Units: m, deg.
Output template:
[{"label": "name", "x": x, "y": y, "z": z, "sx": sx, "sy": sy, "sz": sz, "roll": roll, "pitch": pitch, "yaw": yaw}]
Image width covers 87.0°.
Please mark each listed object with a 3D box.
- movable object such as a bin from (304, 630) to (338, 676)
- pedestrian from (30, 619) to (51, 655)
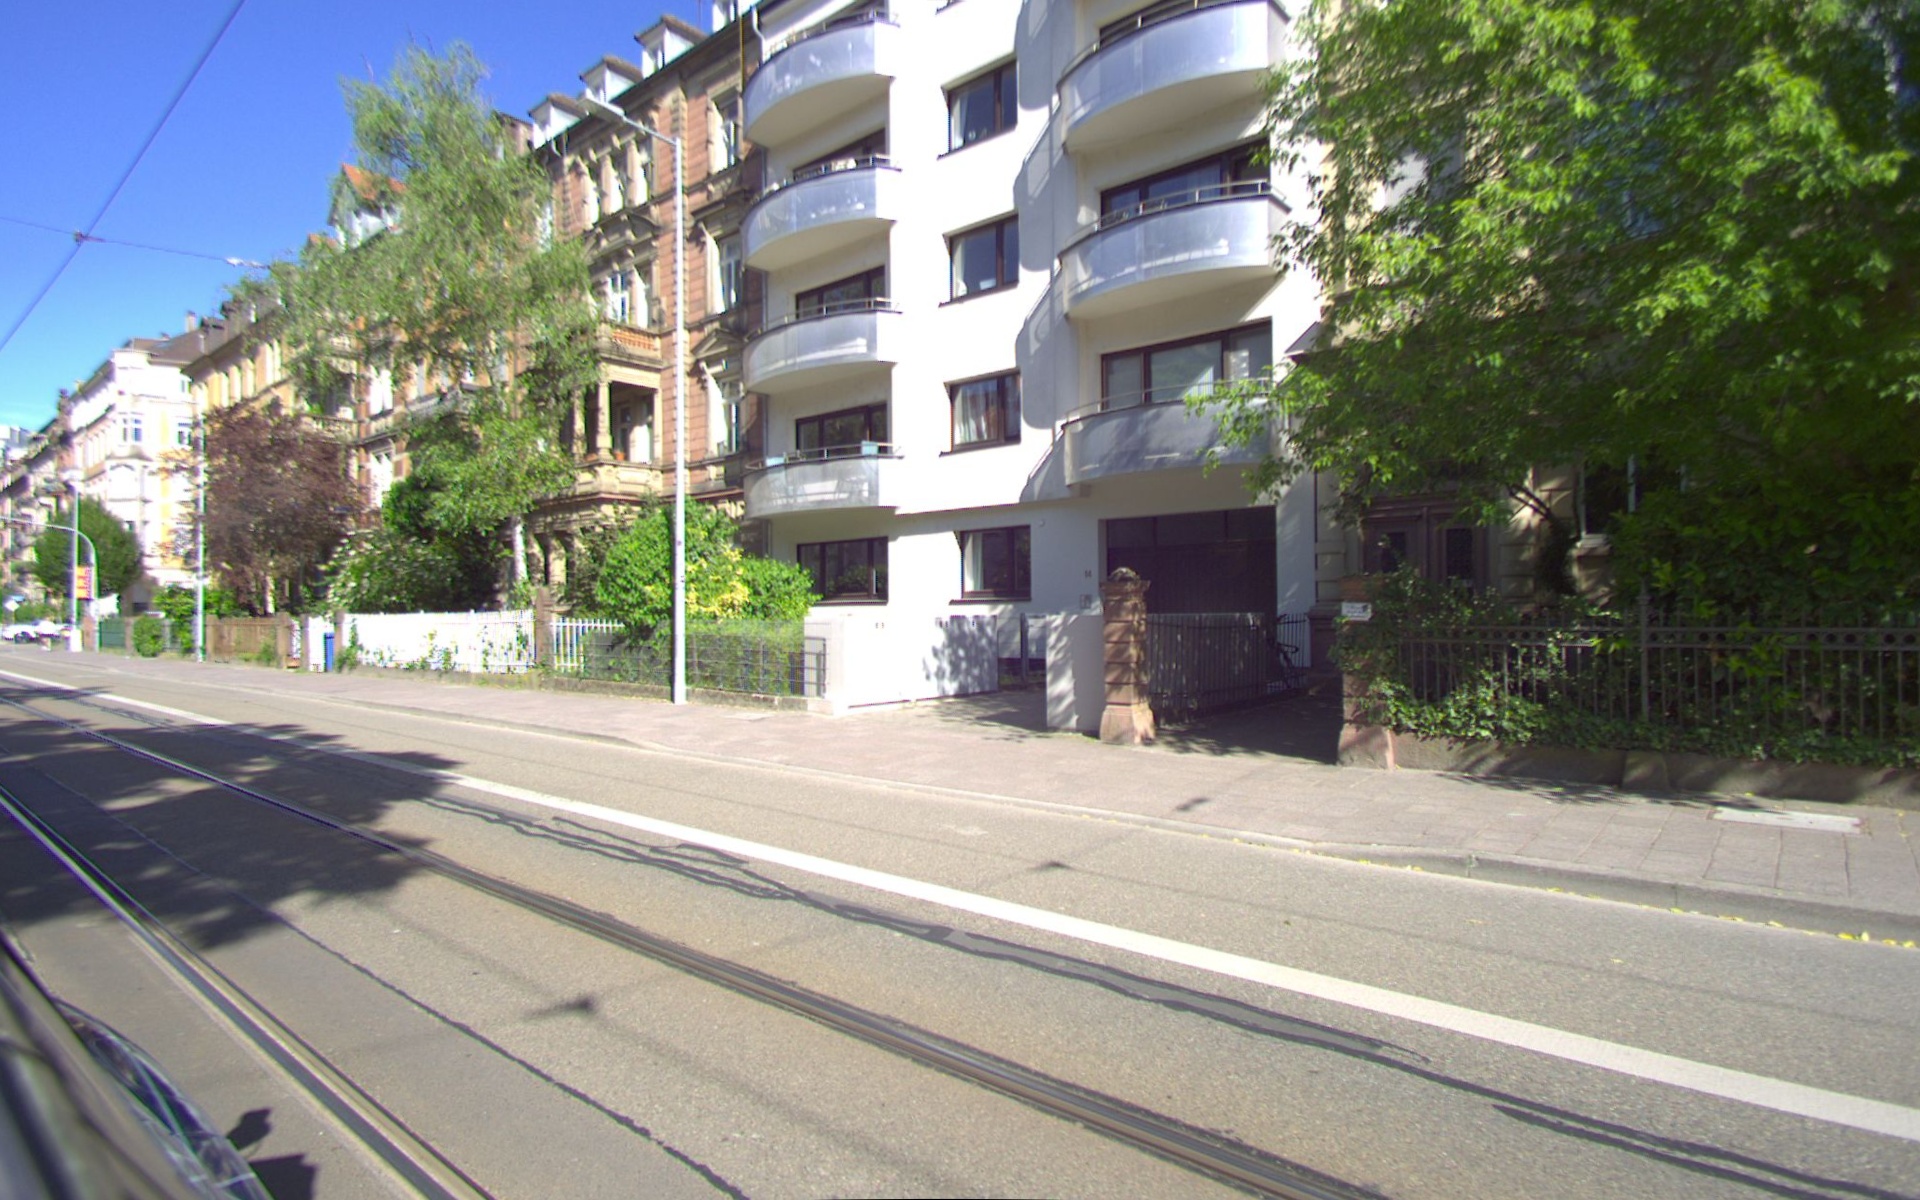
[{"label": "movable object such as a bin", "x": -17.157, "y": 1.417, "z": 27.179, "sx": 0.664, "sy": 1.184, "sz": 0.583, "roll": -2, "pitch": -1, "yaw": 36}, {"label": "pedestrian", "x": -47.688, "y": 1.913, "z": 52.493, "sx": 0.798, "sy": 1.850, "sz": 0.755, "roll": 0, "pitch": -1, "yaw": -41}]
